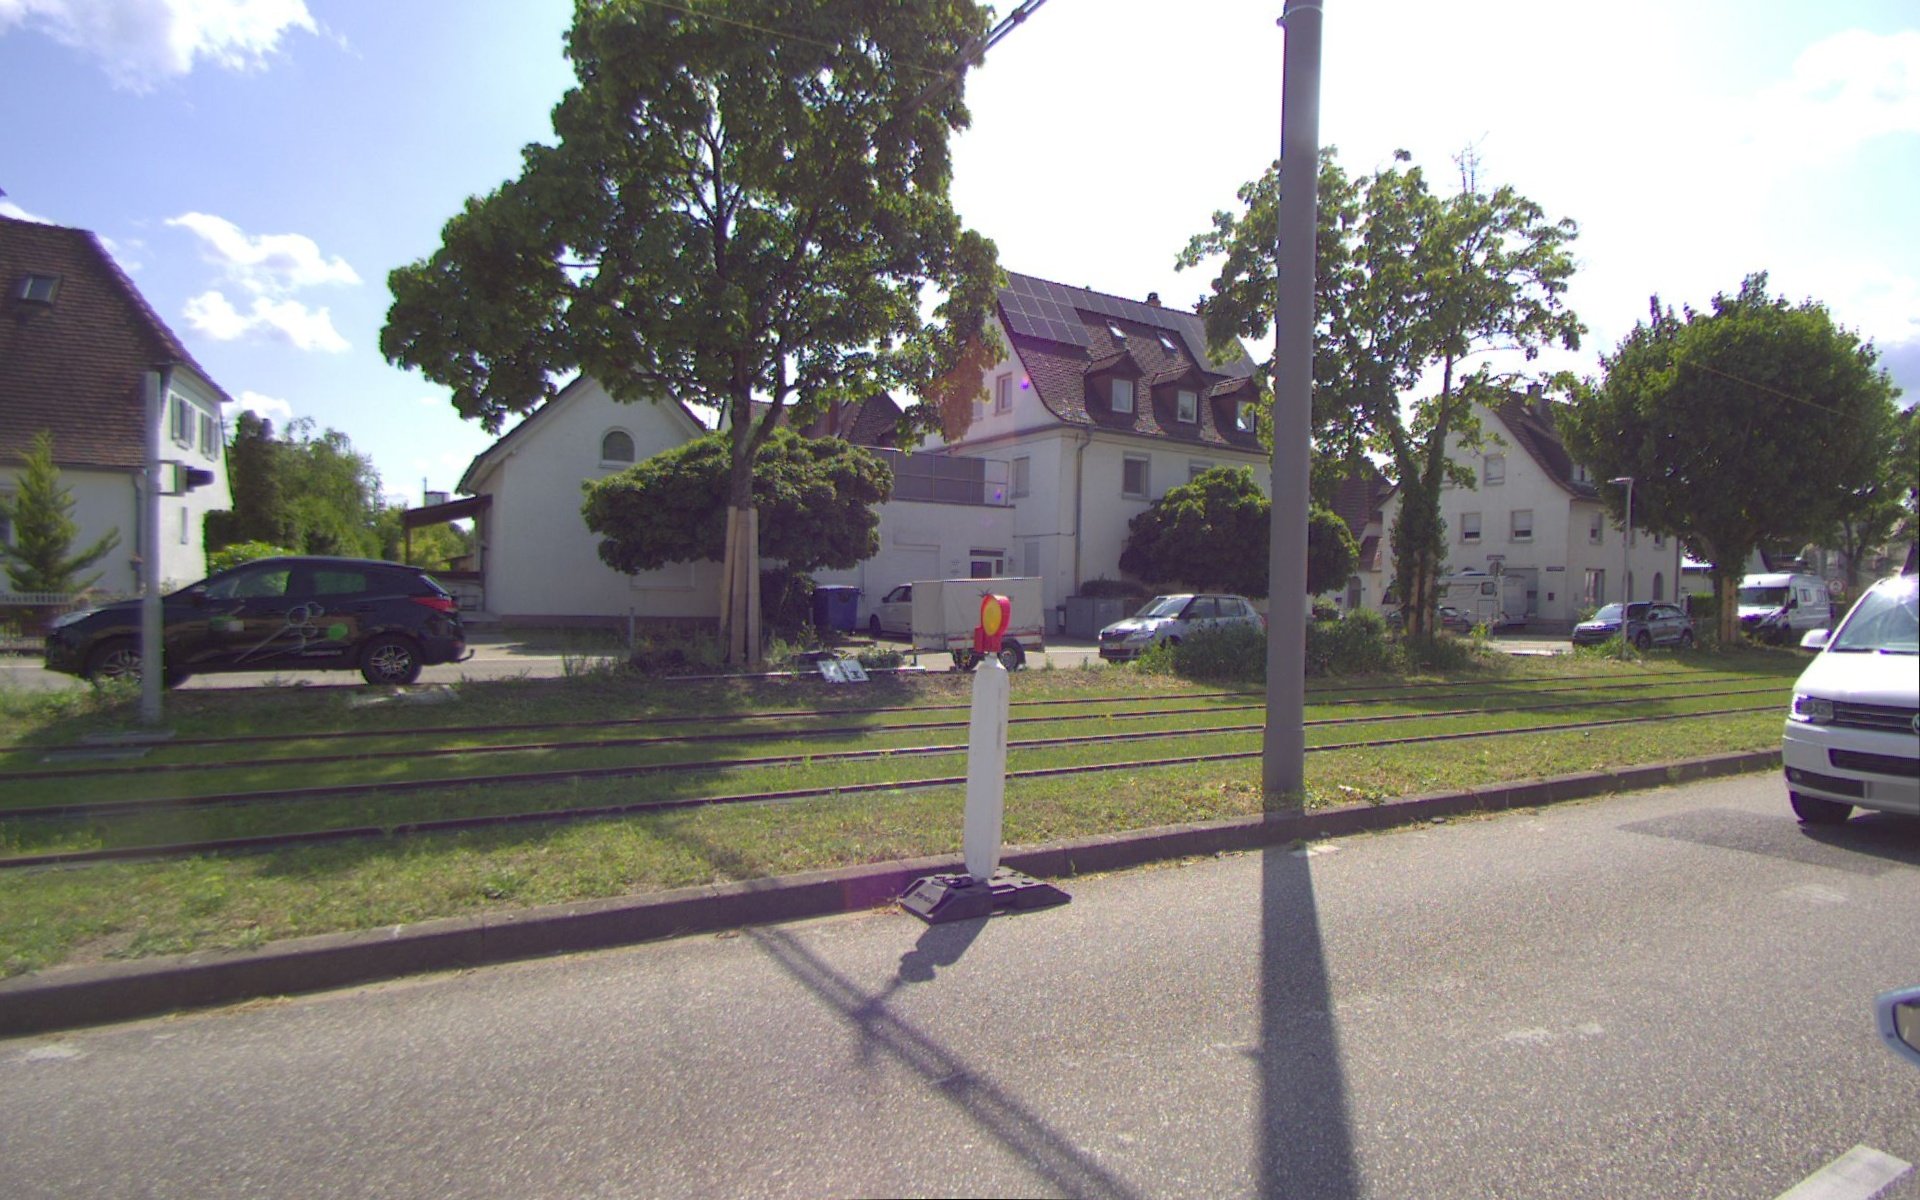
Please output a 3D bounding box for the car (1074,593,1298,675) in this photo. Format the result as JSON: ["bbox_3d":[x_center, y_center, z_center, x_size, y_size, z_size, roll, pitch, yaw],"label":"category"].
[{"bbox_3d":[4.655,0.676,20.497,4.514,1.525,1.720,1,-1,-30],"label":"car"}]

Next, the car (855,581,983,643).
[{"bbox_3d":[-1.221,0.291,27.896,1.775,1.592,3.963,1,0,-33],"label":"car"}]

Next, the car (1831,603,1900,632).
[{"bbox_3d":[52.958,1.002,58.752,4.349,1.573,1.868,2,0,-32],"label":"car"}]

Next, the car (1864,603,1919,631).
[{"bbox_3d":[57.423,1.057,61.568,4.349,1.573,1.868,2,0,-32],"label":"car"}]

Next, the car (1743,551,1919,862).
[{"bbox_3d":[8.402,0.723,7.812,5.315,1.984,1.918,1,-1,-31],"label":"car"}]

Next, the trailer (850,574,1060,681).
[{"bbox_3d":[-0.070,0.450,17.577,3.334,1.700,1.557,1,1,-31],"label":"trailer"}]

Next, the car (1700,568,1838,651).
[{"bbox_3d":[29.075,0.380,35.991,6.933,2.757,2.060,1,-1,-35],"label":"car"}]

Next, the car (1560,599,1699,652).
[{"bbox_3d":[20.294,0.771,30.399,4.514,1.525,1.720,1,-1,-30],"label":"car"}]

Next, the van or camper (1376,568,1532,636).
[{"bbox_3d":[24.736,0.076,50.656,2.415,3.168,6.845,1,0,-31],"label":"van or camper"}]

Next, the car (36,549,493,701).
[{"bbox_3d":[-8.515,0.316,12.828,4.512,1.659,1.688,1,-1,-29],"label":"car"}]

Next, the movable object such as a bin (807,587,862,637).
[{"bbox_3d":[-3.517,0.322,28.021,1.076,1.346,1.353,1,0,-29],"label":"movable object such as a bin"}]
